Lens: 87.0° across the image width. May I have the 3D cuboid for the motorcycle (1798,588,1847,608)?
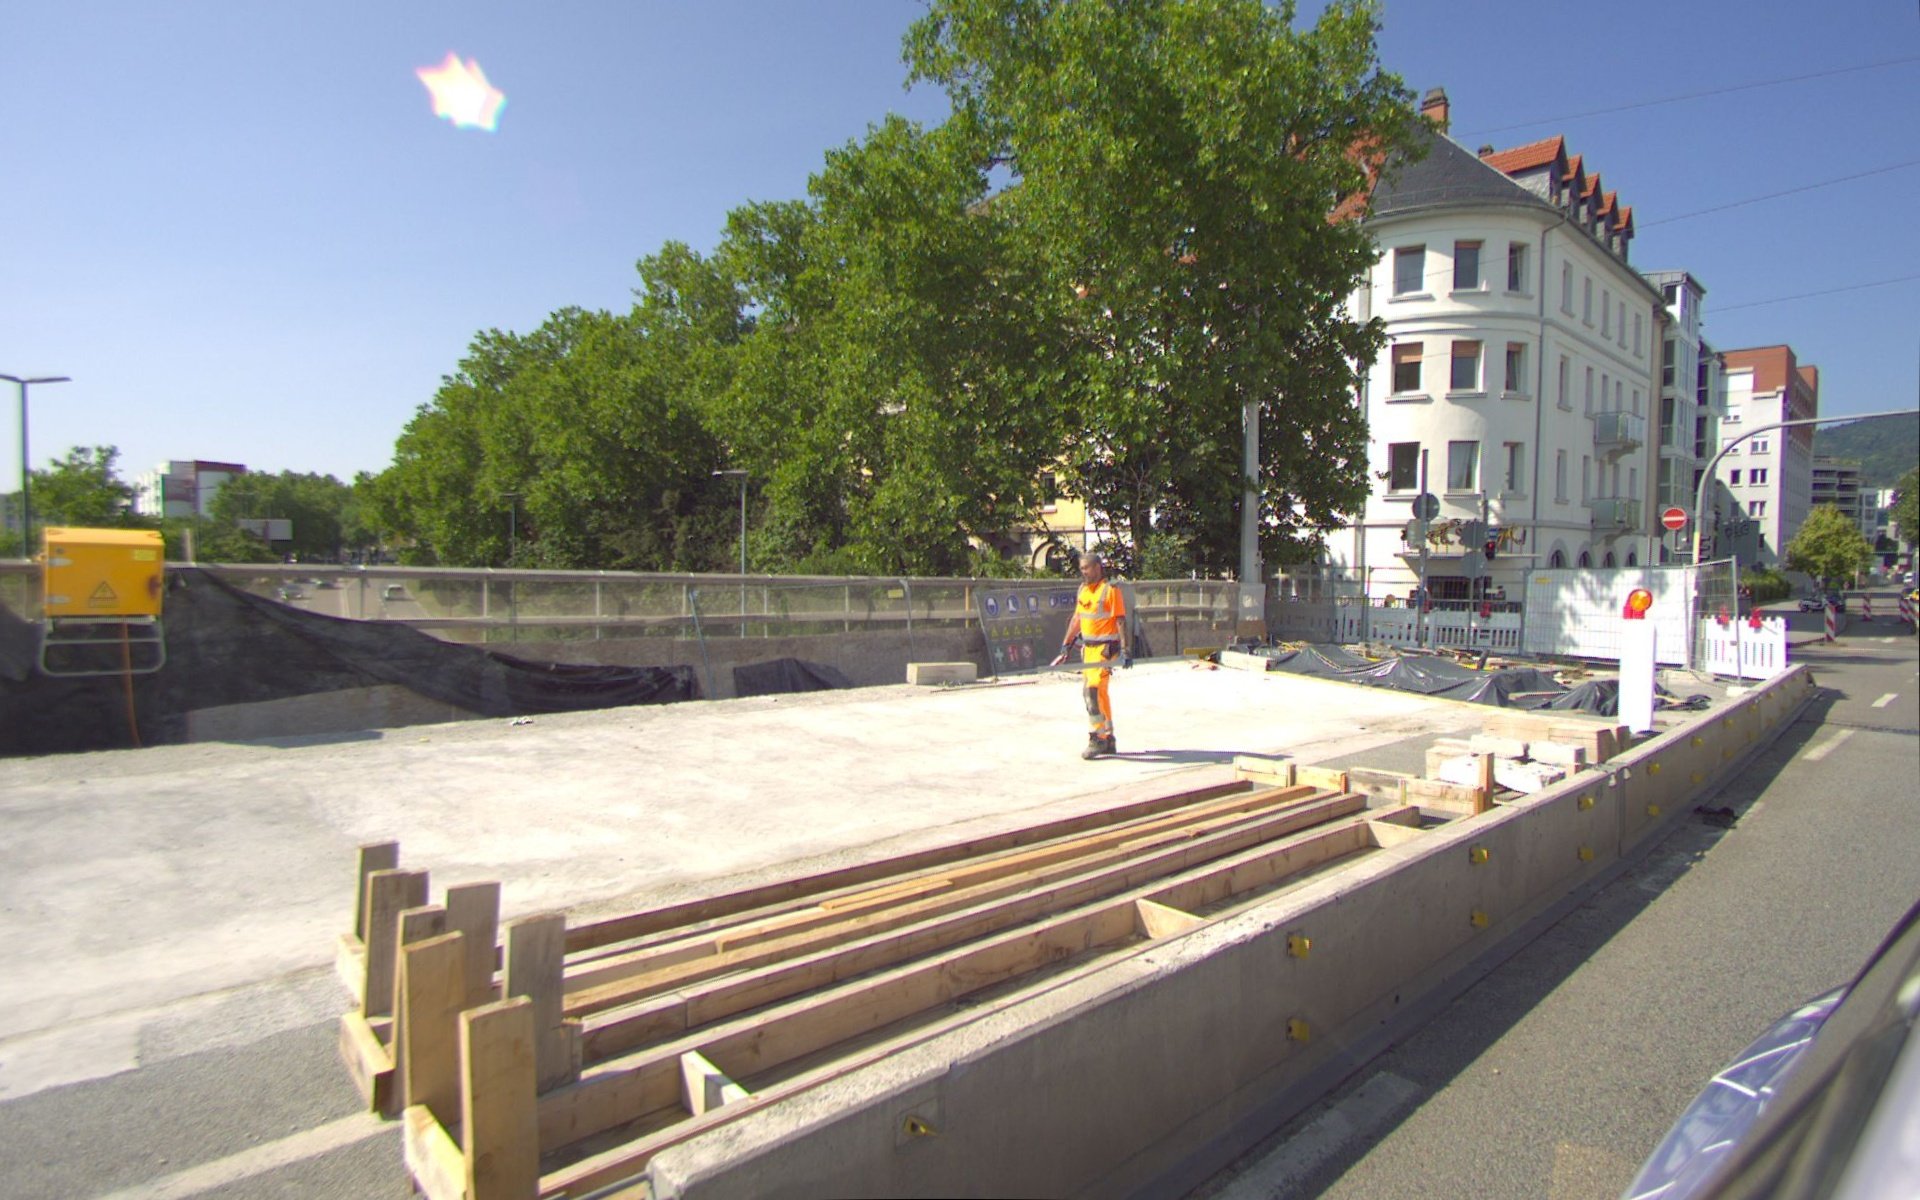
[{"bbox_3d":[53.452,-0.138,62.743,0.731,1.180,2.176,0,2,-41],"label":"motorcycle"}]

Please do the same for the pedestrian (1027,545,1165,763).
[{"bbox_3d":[1.218,0.439,9.084,0.849,1.816,0.820,0,3,-43],"label":"pedestrian"}]

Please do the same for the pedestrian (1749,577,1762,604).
[{"bbox_3d":[53.094,-0.658,67.548,0.596,1.785,0.741,2,2,41],"label":"pedestrian"}]
